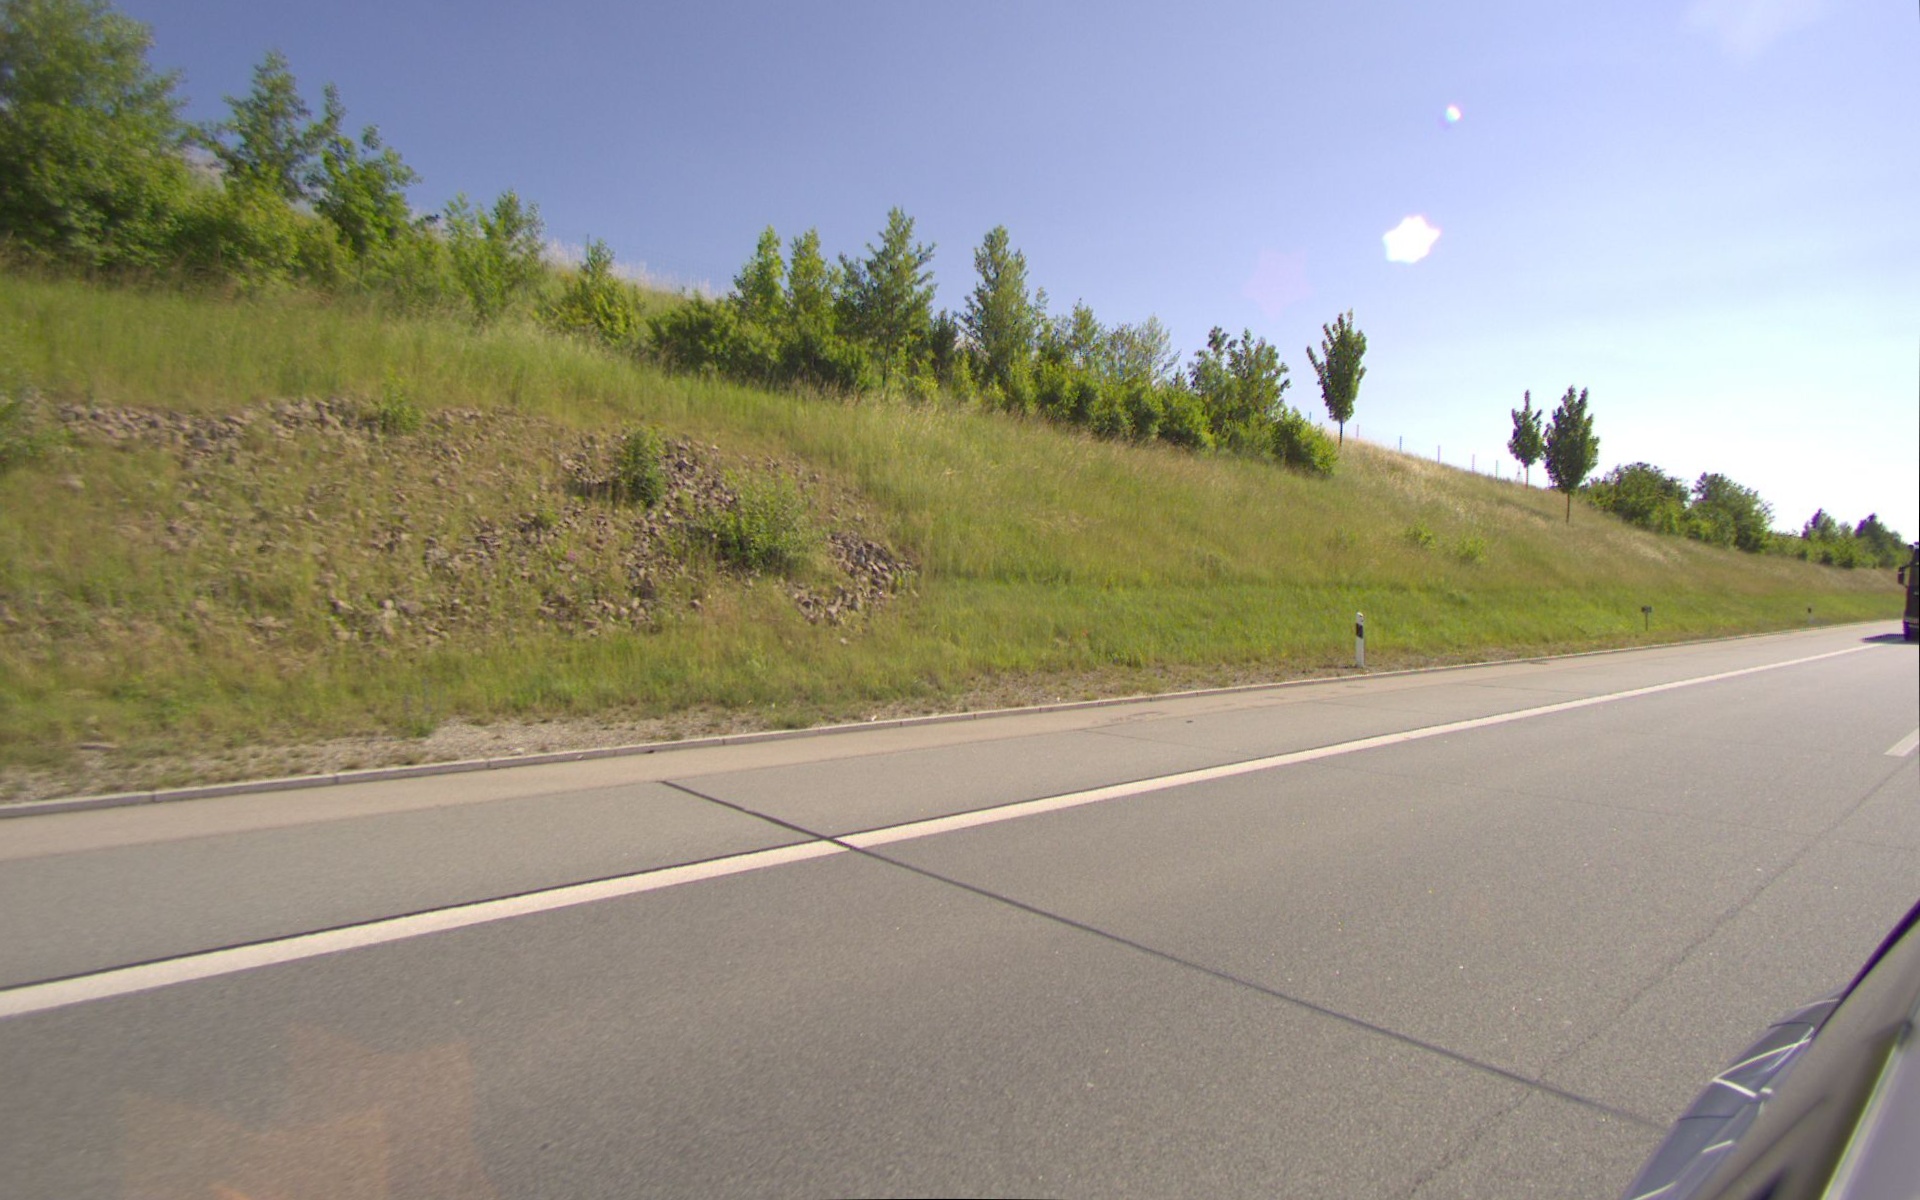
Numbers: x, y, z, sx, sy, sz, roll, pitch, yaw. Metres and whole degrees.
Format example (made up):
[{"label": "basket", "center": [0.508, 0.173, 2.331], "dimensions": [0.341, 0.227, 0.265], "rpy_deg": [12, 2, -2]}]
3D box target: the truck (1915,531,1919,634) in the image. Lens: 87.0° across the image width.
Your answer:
[{"label": "truck", "center": [41.976, -0.639, 41.427], "dimensions": [13.163, 3.866, 2.622], "rpy_deg": [0, 0, -40]}]
